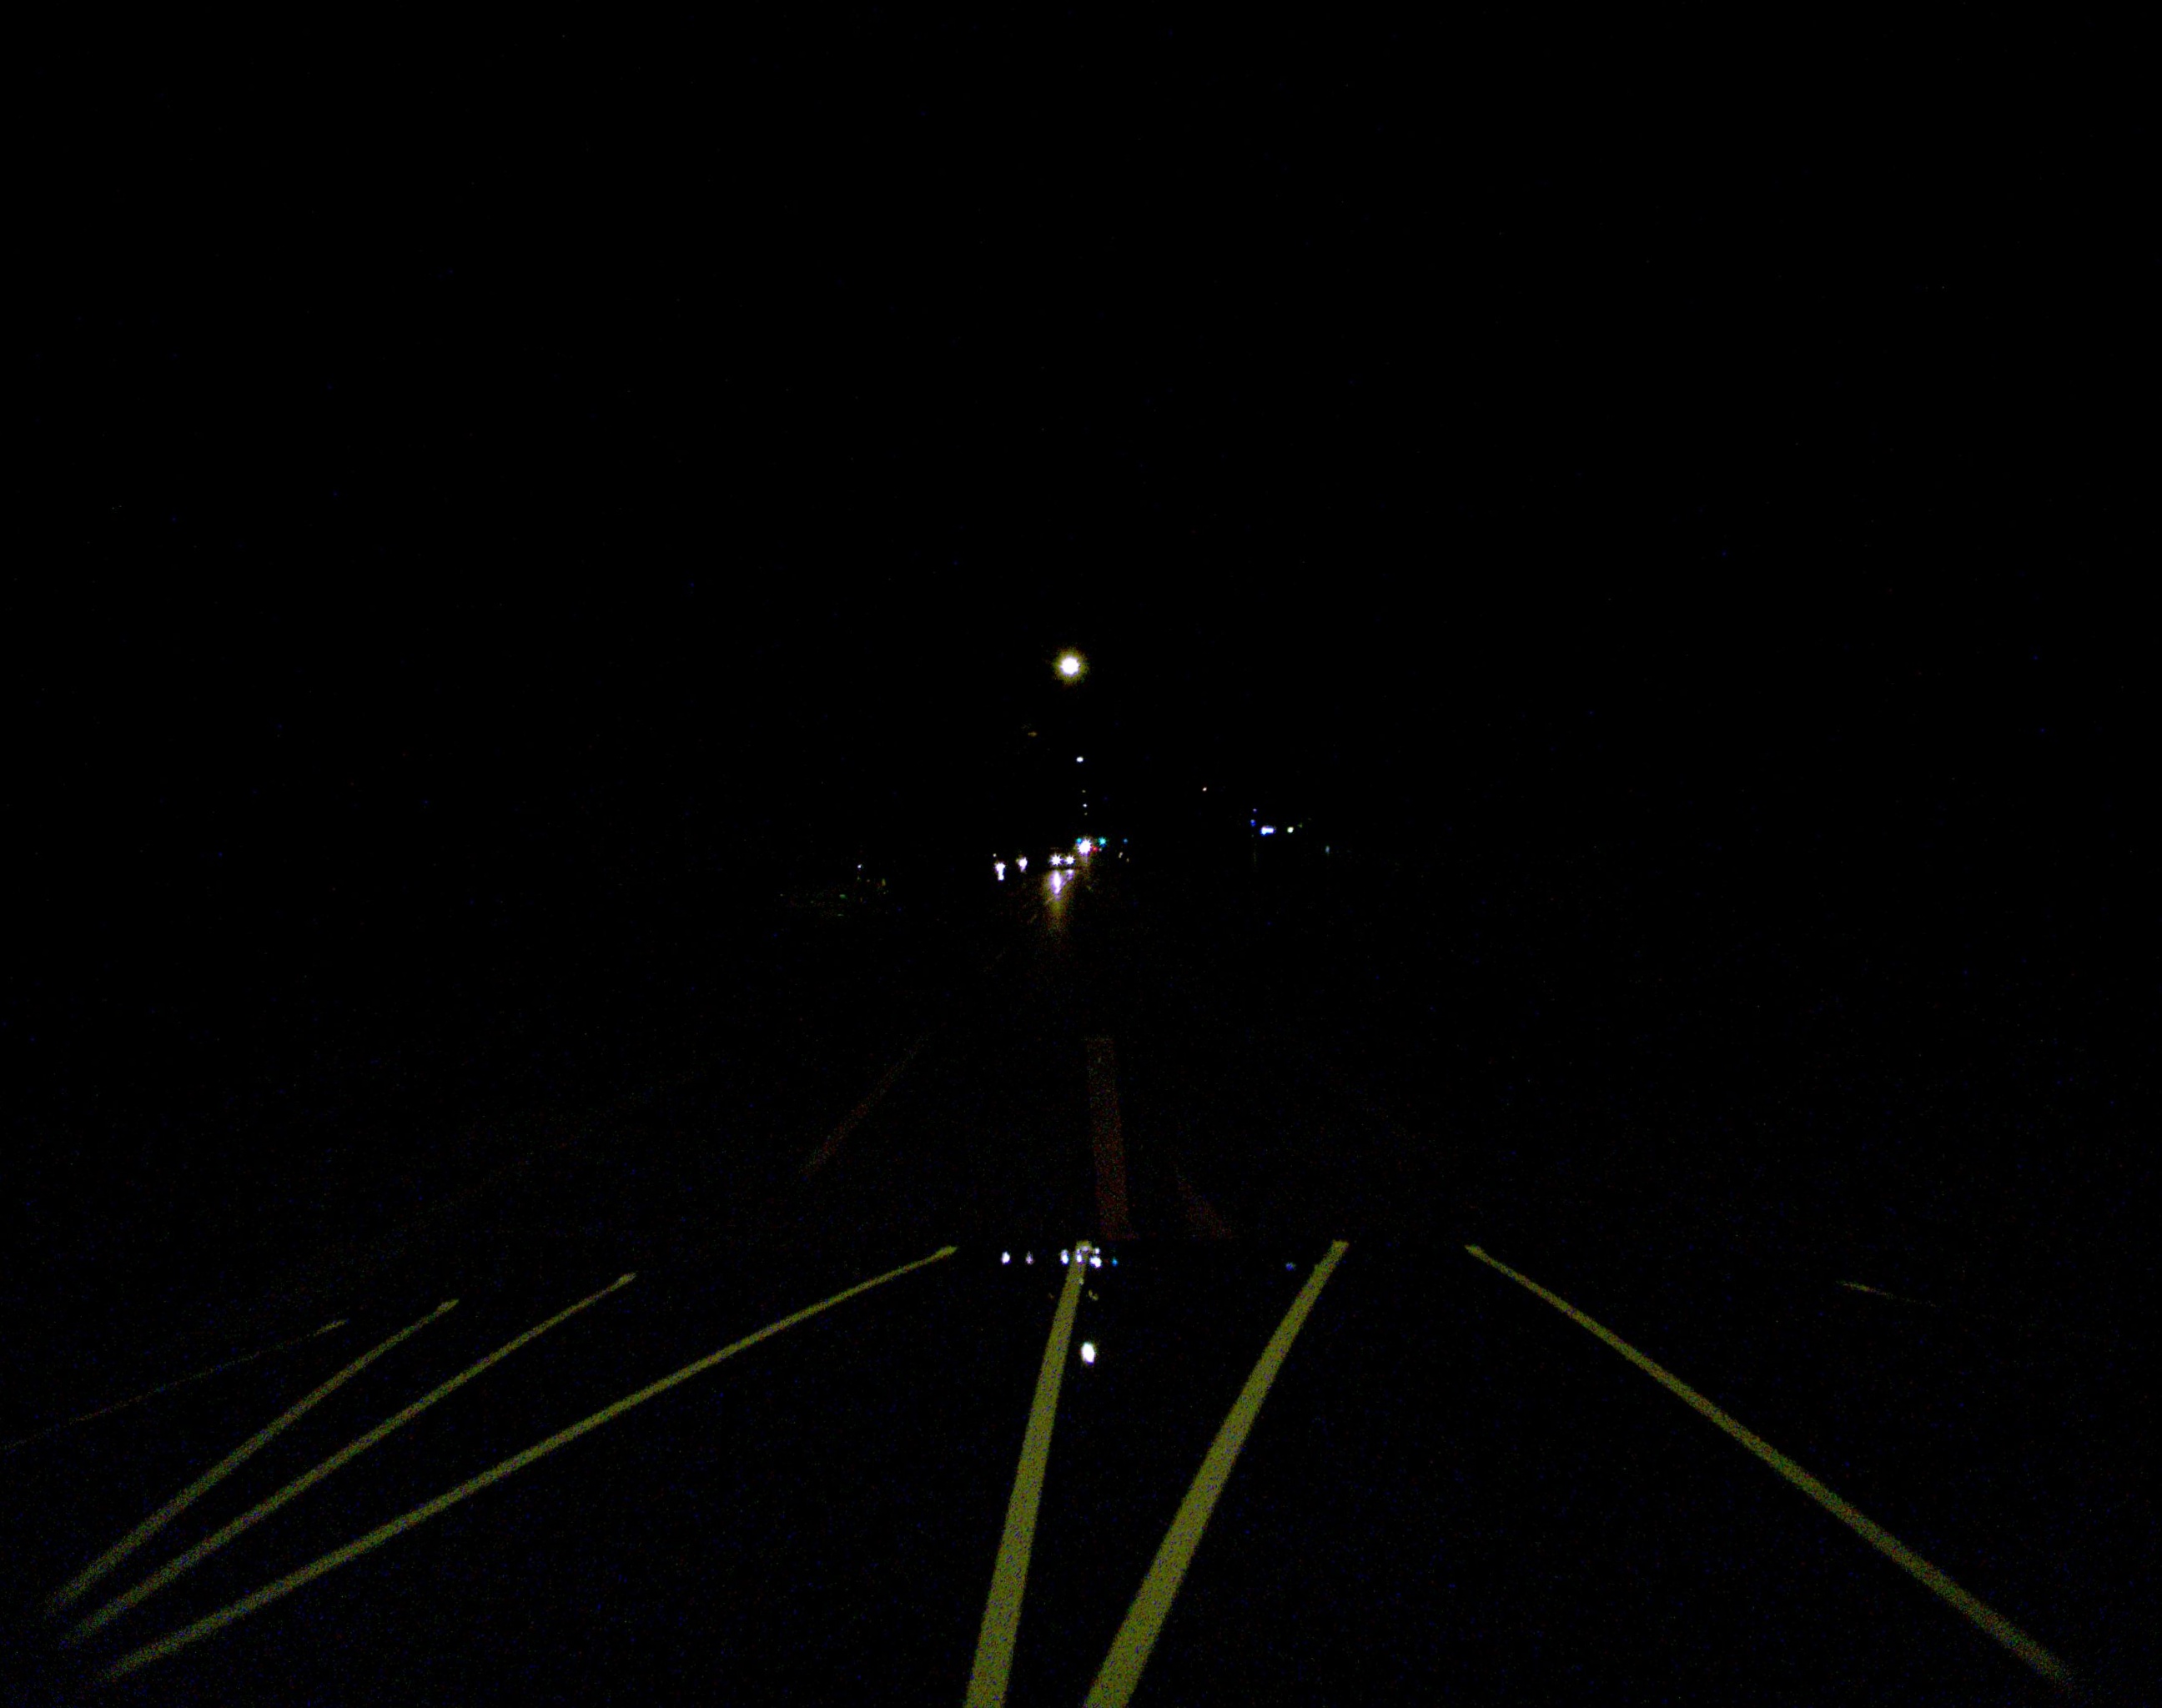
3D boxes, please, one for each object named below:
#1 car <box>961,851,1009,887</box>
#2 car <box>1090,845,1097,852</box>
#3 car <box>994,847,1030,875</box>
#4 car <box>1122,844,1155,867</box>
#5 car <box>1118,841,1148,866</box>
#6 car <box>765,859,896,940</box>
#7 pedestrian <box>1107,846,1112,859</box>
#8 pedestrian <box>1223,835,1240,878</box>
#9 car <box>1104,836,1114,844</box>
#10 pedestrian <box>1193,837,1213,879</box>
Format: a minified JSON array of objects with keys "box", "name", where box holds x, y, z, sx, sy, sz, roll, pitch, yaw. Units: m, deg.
[{"box":[-4.393,0.639,35.167,1.742,1.489,3.889,-1,1,-1],"name":"car"},{"box":[3.021,-1.365,182.751,1.754,1.433,3.487,-3,-2,1],"name":"car"},{"box":[-4.362,0.385,48.697,1.852,1.643,4.178,-2,1,0],"name":"car"},{"box":[3.994,0.077,53.281,1.998,1.477,3.999,-3,1,1],"name":"car"},{"box":[3.980,-0.098,58.280,1.998,1.773,3.999,-2,1,1],"name":"car"},{"box":[-5.244,0.893,16.345,1.611,1.500,3.486,0,1,1],"name":"car"},{"box":[4.464,-0.267,119.158,0.804,2.002,0.940,-2,2,1],"name":"pedestrian"},{"box":[6.225,0.105,31.459,0.565,1.750,0.500,-2,2,1],"name":"pedestrian"},{"box":[5.699,-2.816,155.342,1.903,1.581,3.660,-2,1,2],"name":"car"},{"box":[5.156,0.168,32.116,0.673,1.750,0.500,-2,2,1],"name":"pedestrian"}]
